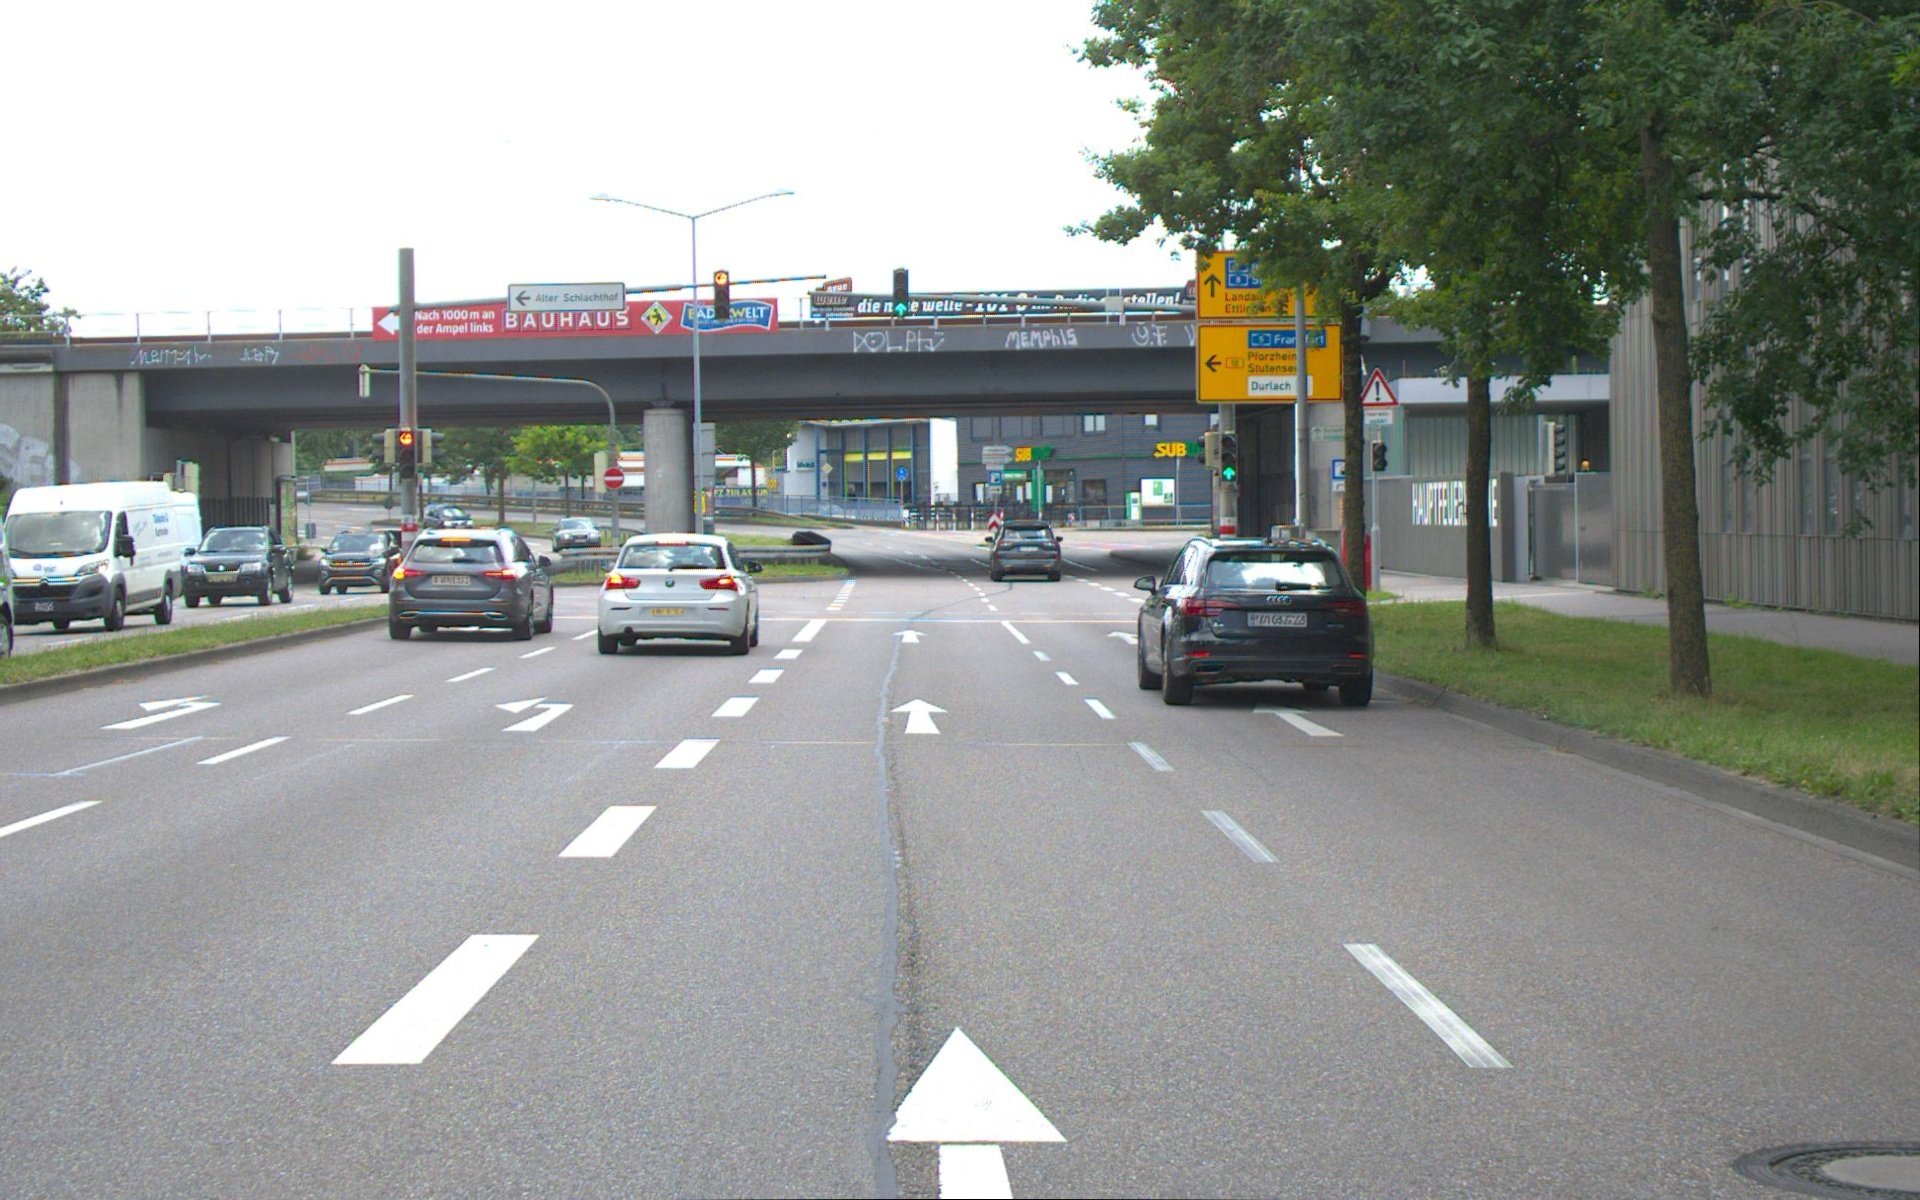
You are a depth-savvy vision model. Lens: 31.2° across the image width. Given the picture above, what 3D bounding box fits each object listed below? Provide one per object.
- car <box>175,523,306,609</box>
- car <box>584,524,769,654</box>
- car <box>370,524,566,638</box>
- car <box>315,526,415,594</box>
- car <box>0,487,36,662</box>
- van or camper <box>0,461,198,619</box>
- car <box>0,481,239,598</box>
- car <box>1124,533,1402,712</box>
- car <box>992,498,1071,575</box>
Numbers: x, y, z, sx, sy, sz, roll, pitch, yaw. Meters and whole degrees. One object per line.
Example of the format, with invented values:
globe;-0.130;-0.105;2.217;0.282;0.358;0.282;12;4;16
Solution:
car;-15.458;-0.768;74.058;1.993;1.760;4.221;-1;1;-2
car;-3.391;-0.178;41.823;1.915;1.410;4.296;2;1;-1
car;-6.509;-0.294;45.958;1.993;1.410;4.832;0;1;-1
car;-14.993;-1.038;86.817;1.806;1.626;4.393;-1;1;-1
car;-11.773;-0.237;37.367;2.190;1.957;5.194;-1;2;-2
van or camper;-14.876;-1.048;58.780;2.351;2.531;7.065;0;1;-2
car;-21.237;-1.543;86.799;5.398;2.812;2.387;-2;1;-31
car;2.613;0.141;30.708;1.993;1.385;4.576;1;2;-1
car;1.943;-1.746;94.254;1.993;2.030;4.713;-1;1;0
